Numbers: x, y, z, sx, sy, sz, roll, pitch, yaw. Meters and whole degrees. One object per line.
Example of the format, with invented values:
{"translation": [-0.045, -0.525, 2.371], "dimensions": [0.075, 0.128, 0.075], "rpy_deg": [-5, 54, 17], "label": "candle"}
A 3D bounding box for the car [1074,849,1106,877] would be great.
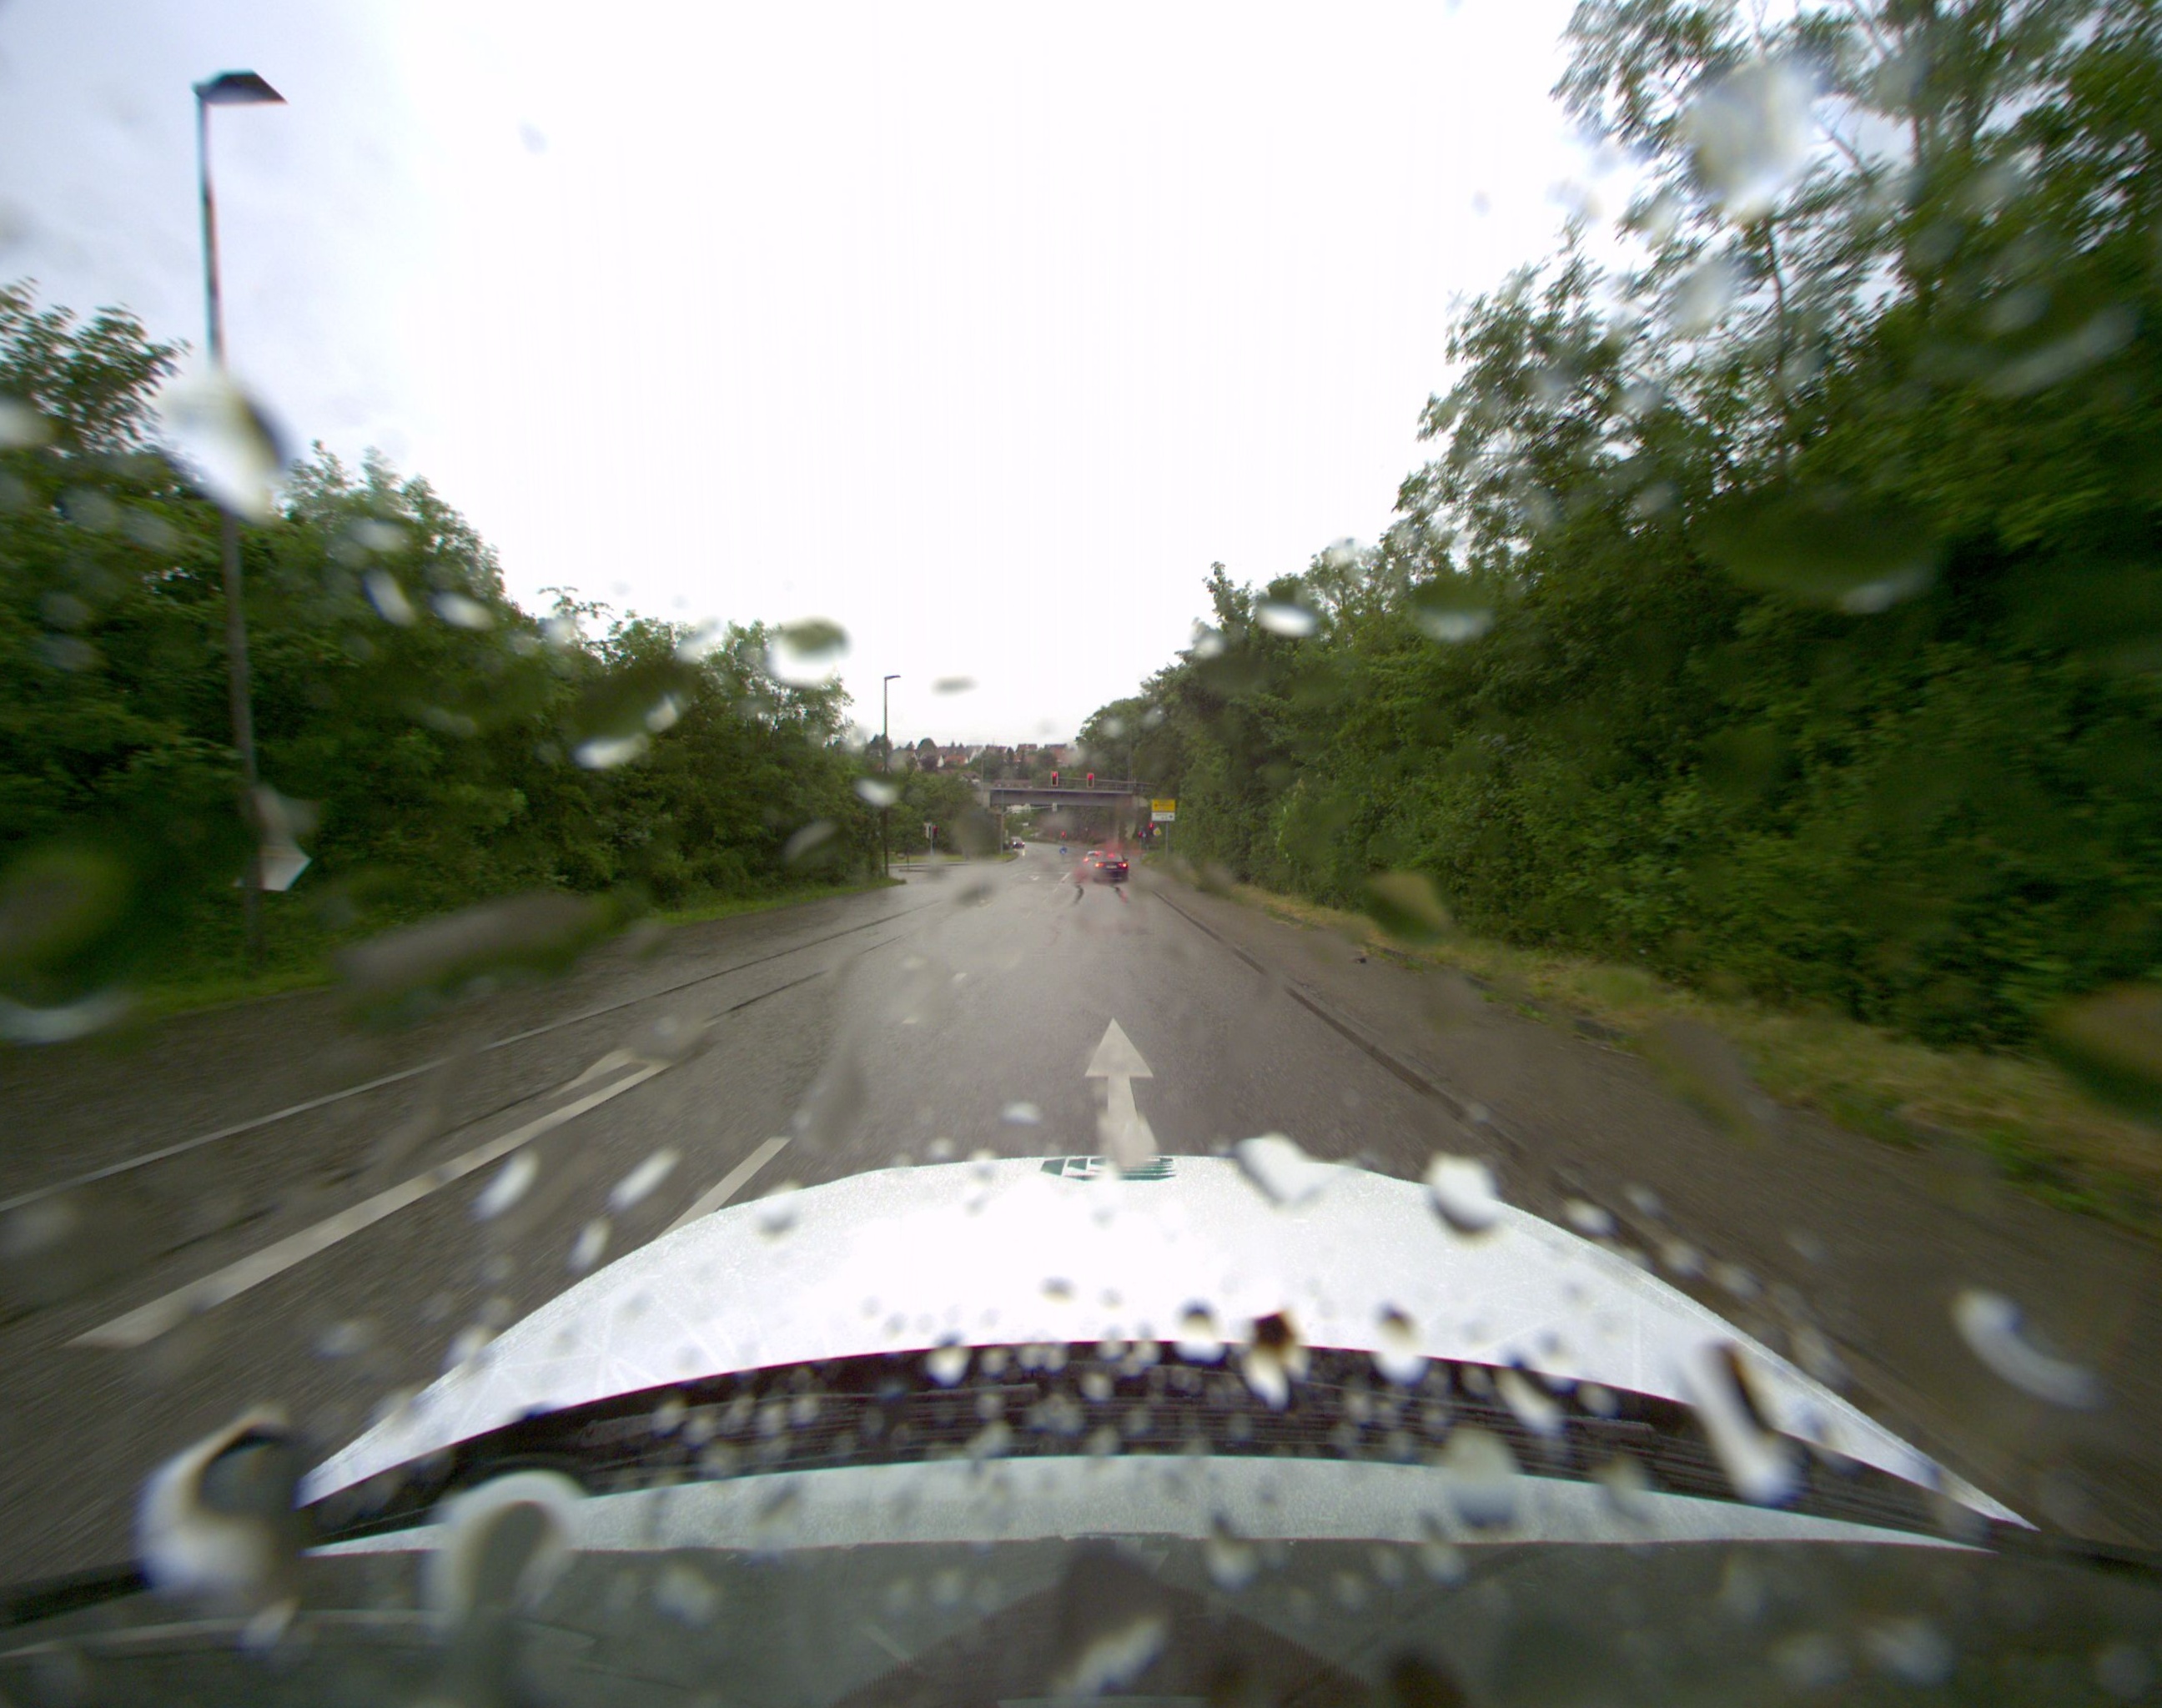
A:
{"translation": [0.546, 0.514, 48.550], "dimensions": [1.816, 1.585, 4.001], "rpy_deg": [0, -1, 1], "label": "car"}

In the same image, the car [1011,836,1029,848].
{"translation": [-9.942, -1.932, 132.535], "dimensions": [1.998, 1.628, 3.977], "rpy_deg": [-1, -1, -17], "label": "car"}

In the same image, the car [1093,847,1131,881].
{"translation": [1.550, 0.463, 41.418], "dimensions": [1.863, 1.616, 4.001], "rpy_deg": [0, 0, 1], "label": "car"}
